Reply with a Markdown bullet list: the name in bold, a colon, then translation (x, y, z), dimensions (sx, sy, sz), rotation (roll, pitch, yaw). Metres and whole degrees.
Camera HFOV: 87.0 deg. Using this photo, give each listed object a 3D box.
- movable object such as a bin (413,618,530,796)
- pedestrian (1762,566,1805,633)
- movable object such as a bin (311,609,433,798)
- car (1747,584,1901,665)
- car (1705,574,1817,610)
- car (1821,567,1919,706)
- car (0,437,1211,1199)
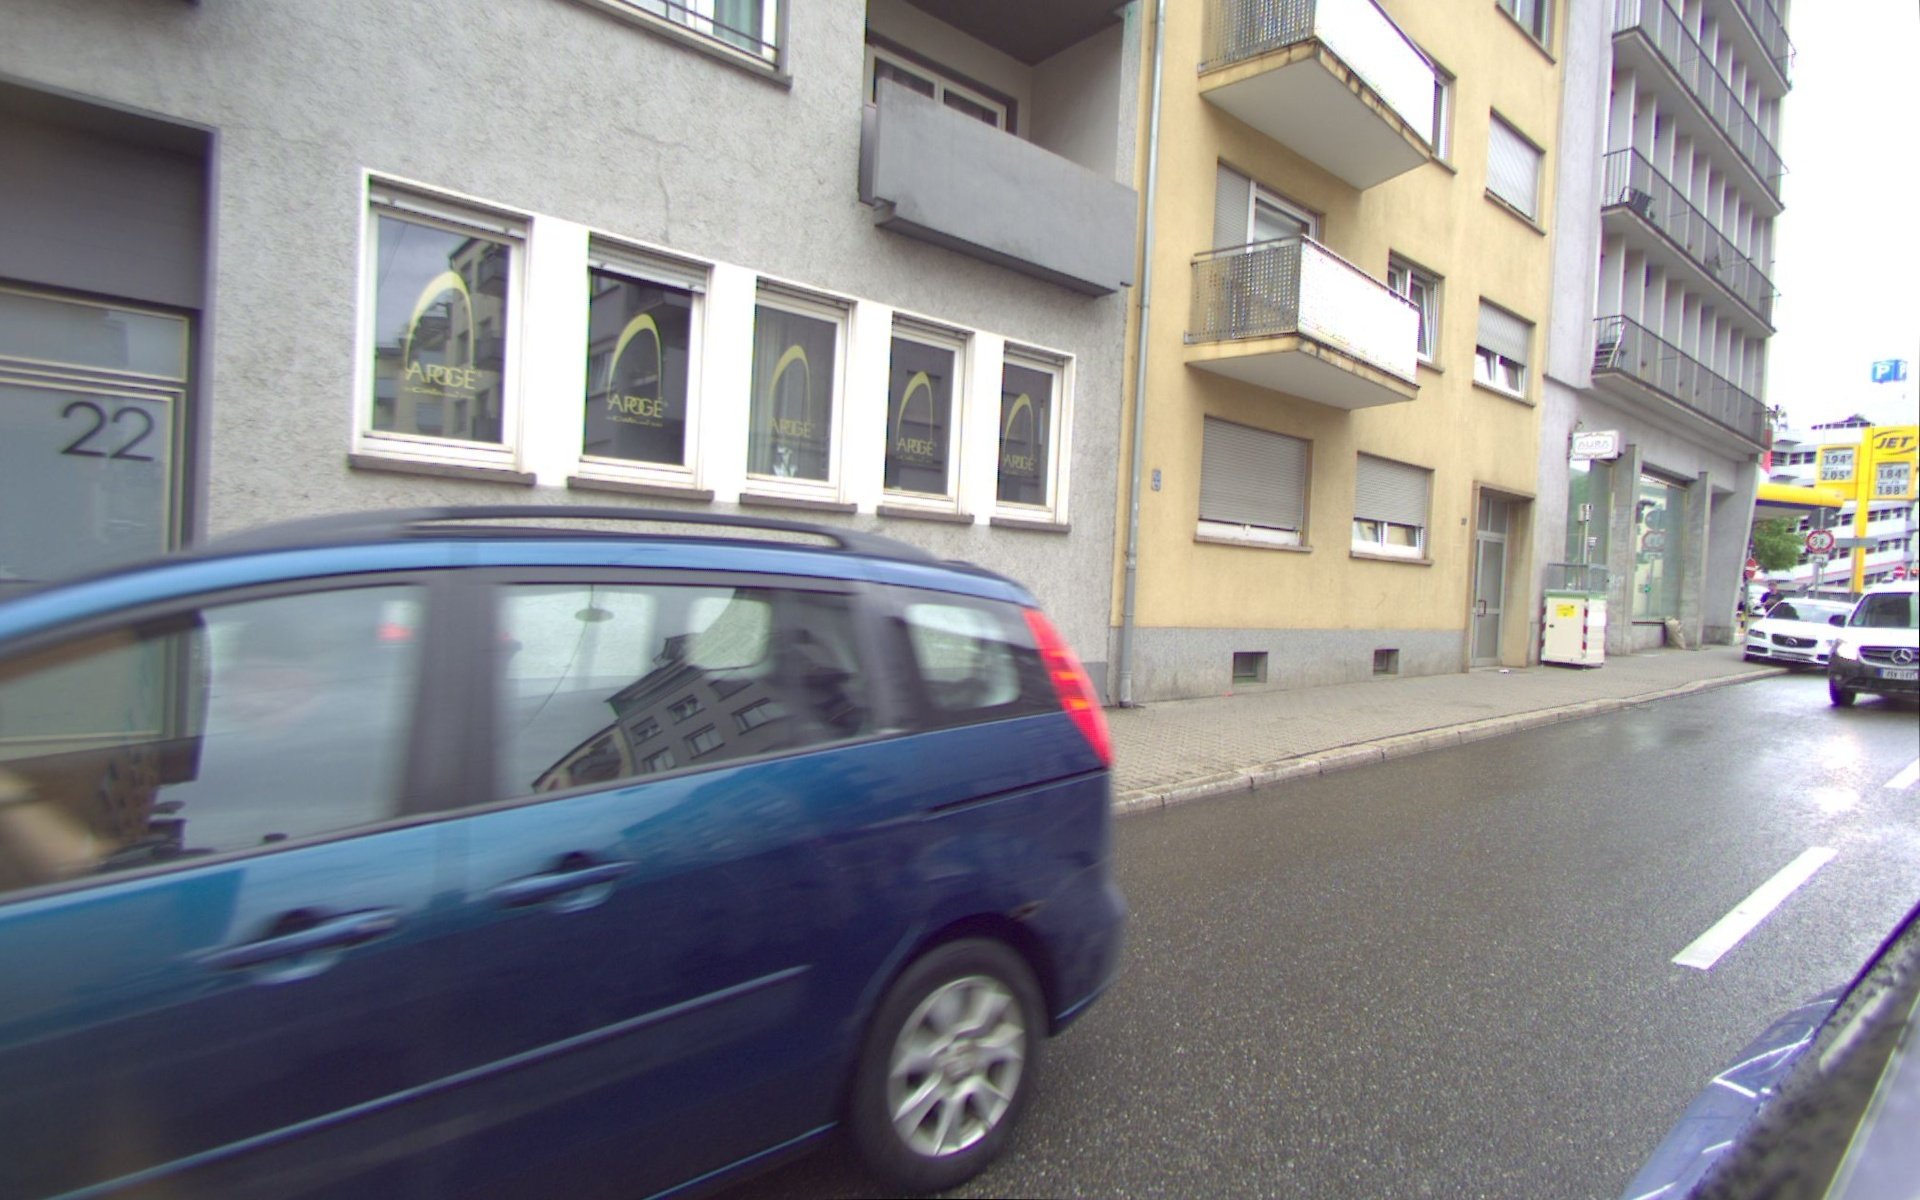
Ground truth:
- **movable object such as a bin**: translation (-2.969, 0.618, 6.140), dimensions (0.506, 0.961, 0.541), rotation (0, 4, -40)
- **pedestrian**: translation (22.480, -0.009, 27.627), dimensions (0.872, 1.777, 0.679), rotation (0, 2, -39)
- **movable object such as a bin**: translation (-3.380, 0.563, 5.810), dimensions (0.506, 0.967, 0.541), rotation (0, 4, -40)
- **car**: translation (18.253, 0.449, 21.318), dimensions (4.093, 1.453, 1.803), rotation (0, 4, -41)
- **car**: translation (34.566, -0.341, 43.812), dimensions (1.739, 1.493, 3.998), rotation (0, 0, 2)
- **car**: translation (14.214, 0.462, 14.555), dimensions (4.660, 1.797, 1.945), rotation (0, 1, -39)
- **car**: translation (-1.428, 0.580, 2.420), dimensions (4.135, 1.626, 1.812), rotation (0, 1, -39)
